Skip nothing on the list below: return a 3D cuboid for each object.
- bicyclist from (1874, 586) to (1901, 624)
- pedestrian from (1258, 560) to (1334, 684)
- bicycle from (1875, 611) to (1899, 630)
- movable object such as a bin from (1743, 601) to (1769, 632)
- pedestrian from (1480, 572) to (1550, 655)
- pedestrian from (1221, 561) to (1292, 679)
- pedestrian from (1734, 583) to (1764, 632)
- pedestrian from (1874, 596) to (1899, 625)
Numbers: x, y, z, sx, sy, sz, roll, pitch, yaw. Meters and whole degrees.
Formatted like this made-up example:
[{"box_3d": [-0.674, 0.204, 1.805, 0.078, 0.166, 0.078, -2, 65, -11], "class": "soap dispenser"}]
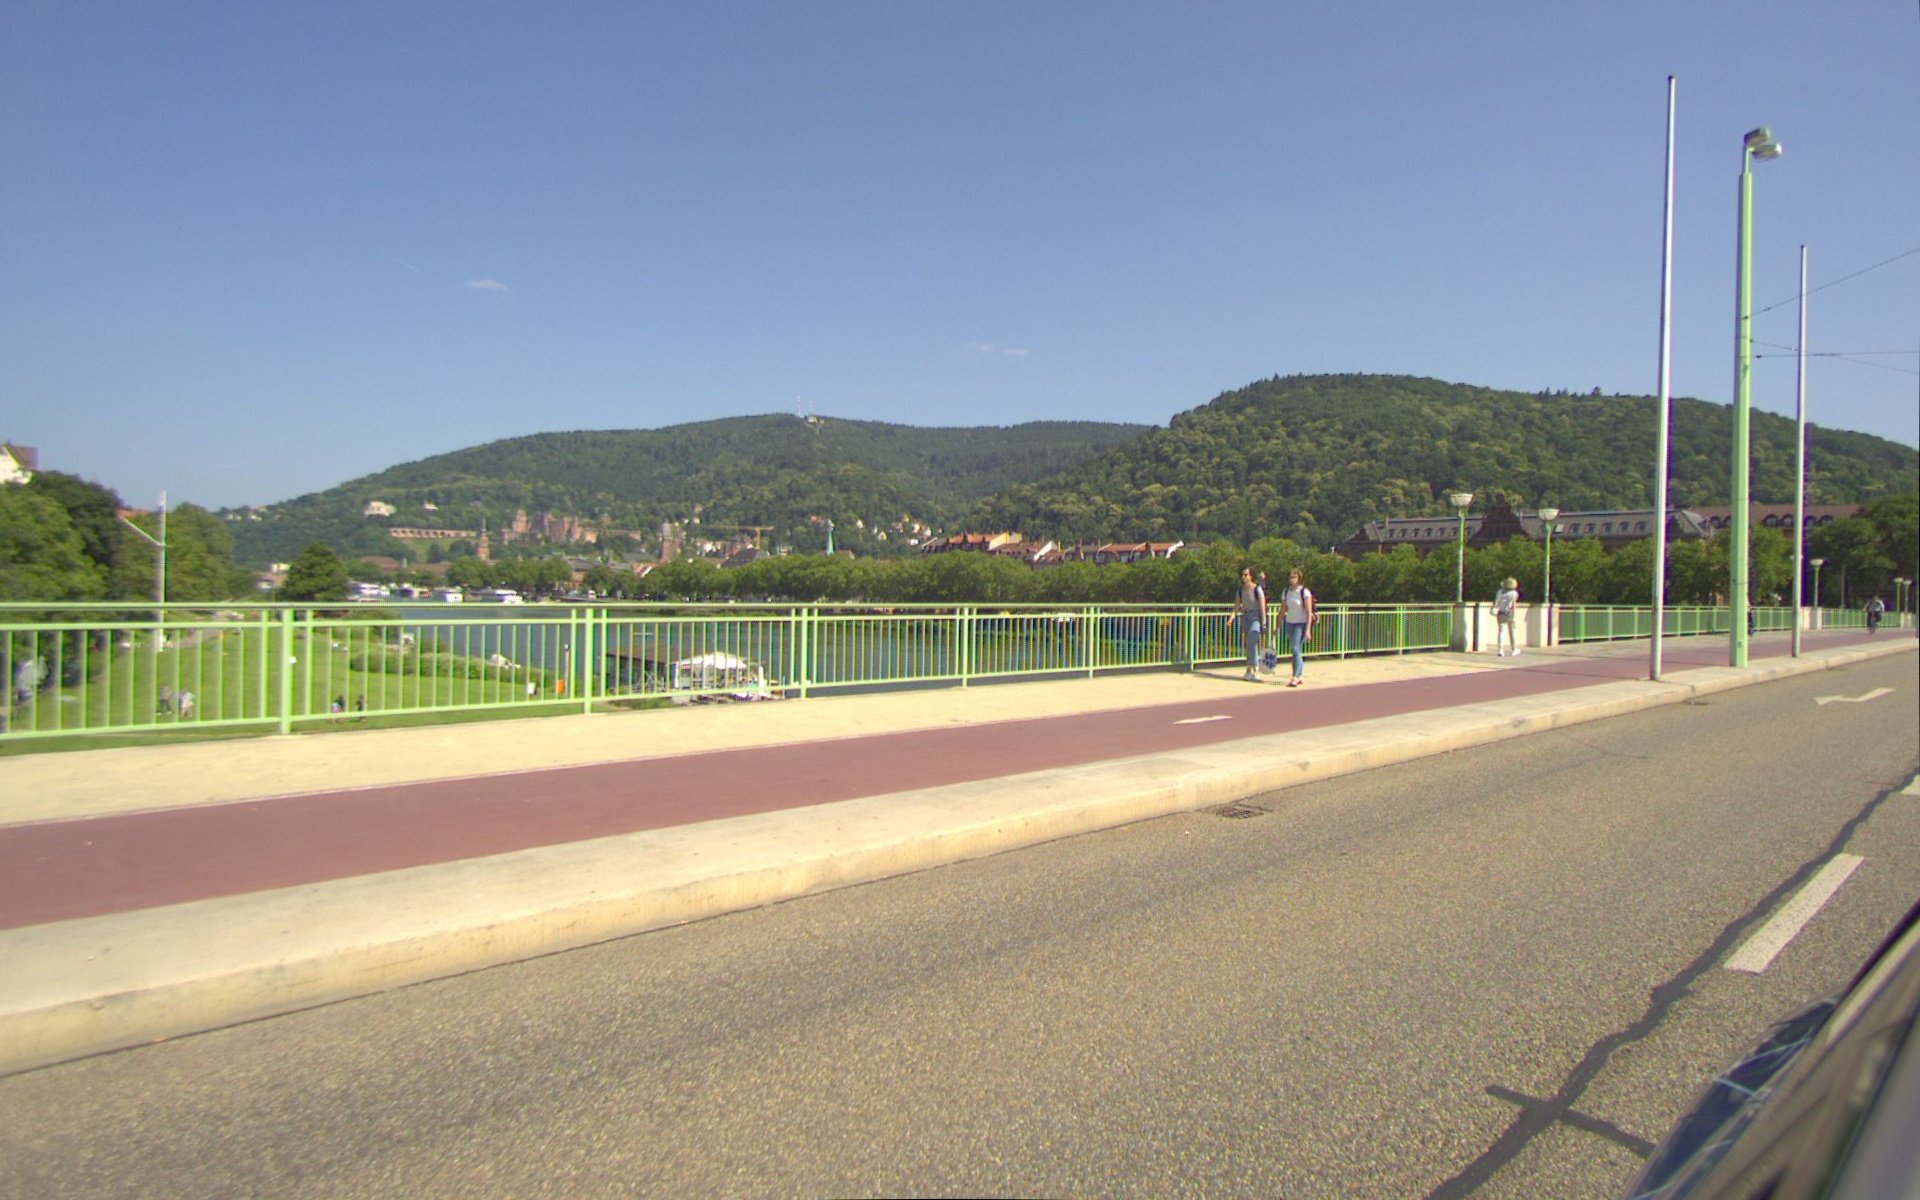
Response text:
[{"box_3d": [41.846, 0.208, 45.663, 0.829, 1.685, 0.731, 1, 2, -40], "class": "bicyclist"}, {"box_3d": [4.766, 0.291, 14.349, 0.811, 1.679, 0.664, 0, 2, -41], "class": "pedestrian"}, {"box_3d": [41.918, 0.919, 45.758, 1.834, 0.775, 0.595, 0, 2, -41], "class": "bicycle"}, {"box_3d": [29.133, 0.595, 37.037, 0.917, 1.104, 0.583, 0, 1, -42], "class": "movable object such as a bin"}, {"box_3d": [11.834, 0.266, 21.583, 1.063, 1.683, 0.949, 0, 2, -41], "class": "pedestrian"}, {"box_3d": [4.383, 0.280, 14.954, 0.733, 1.679, 0.668, 0, 2, -41], "class": "pedestrian"}, {"box_3d": [28.482, 0.269, 36.531, 0.844, 1.727, 0.664, 0, 2, -41], "class": "pedestrian"}, {"box_3d": [56.459, 0.643, 61.691, 1.063, 1.683, 0.949, 1, 2, -41], "class": "pedestrian"}]
